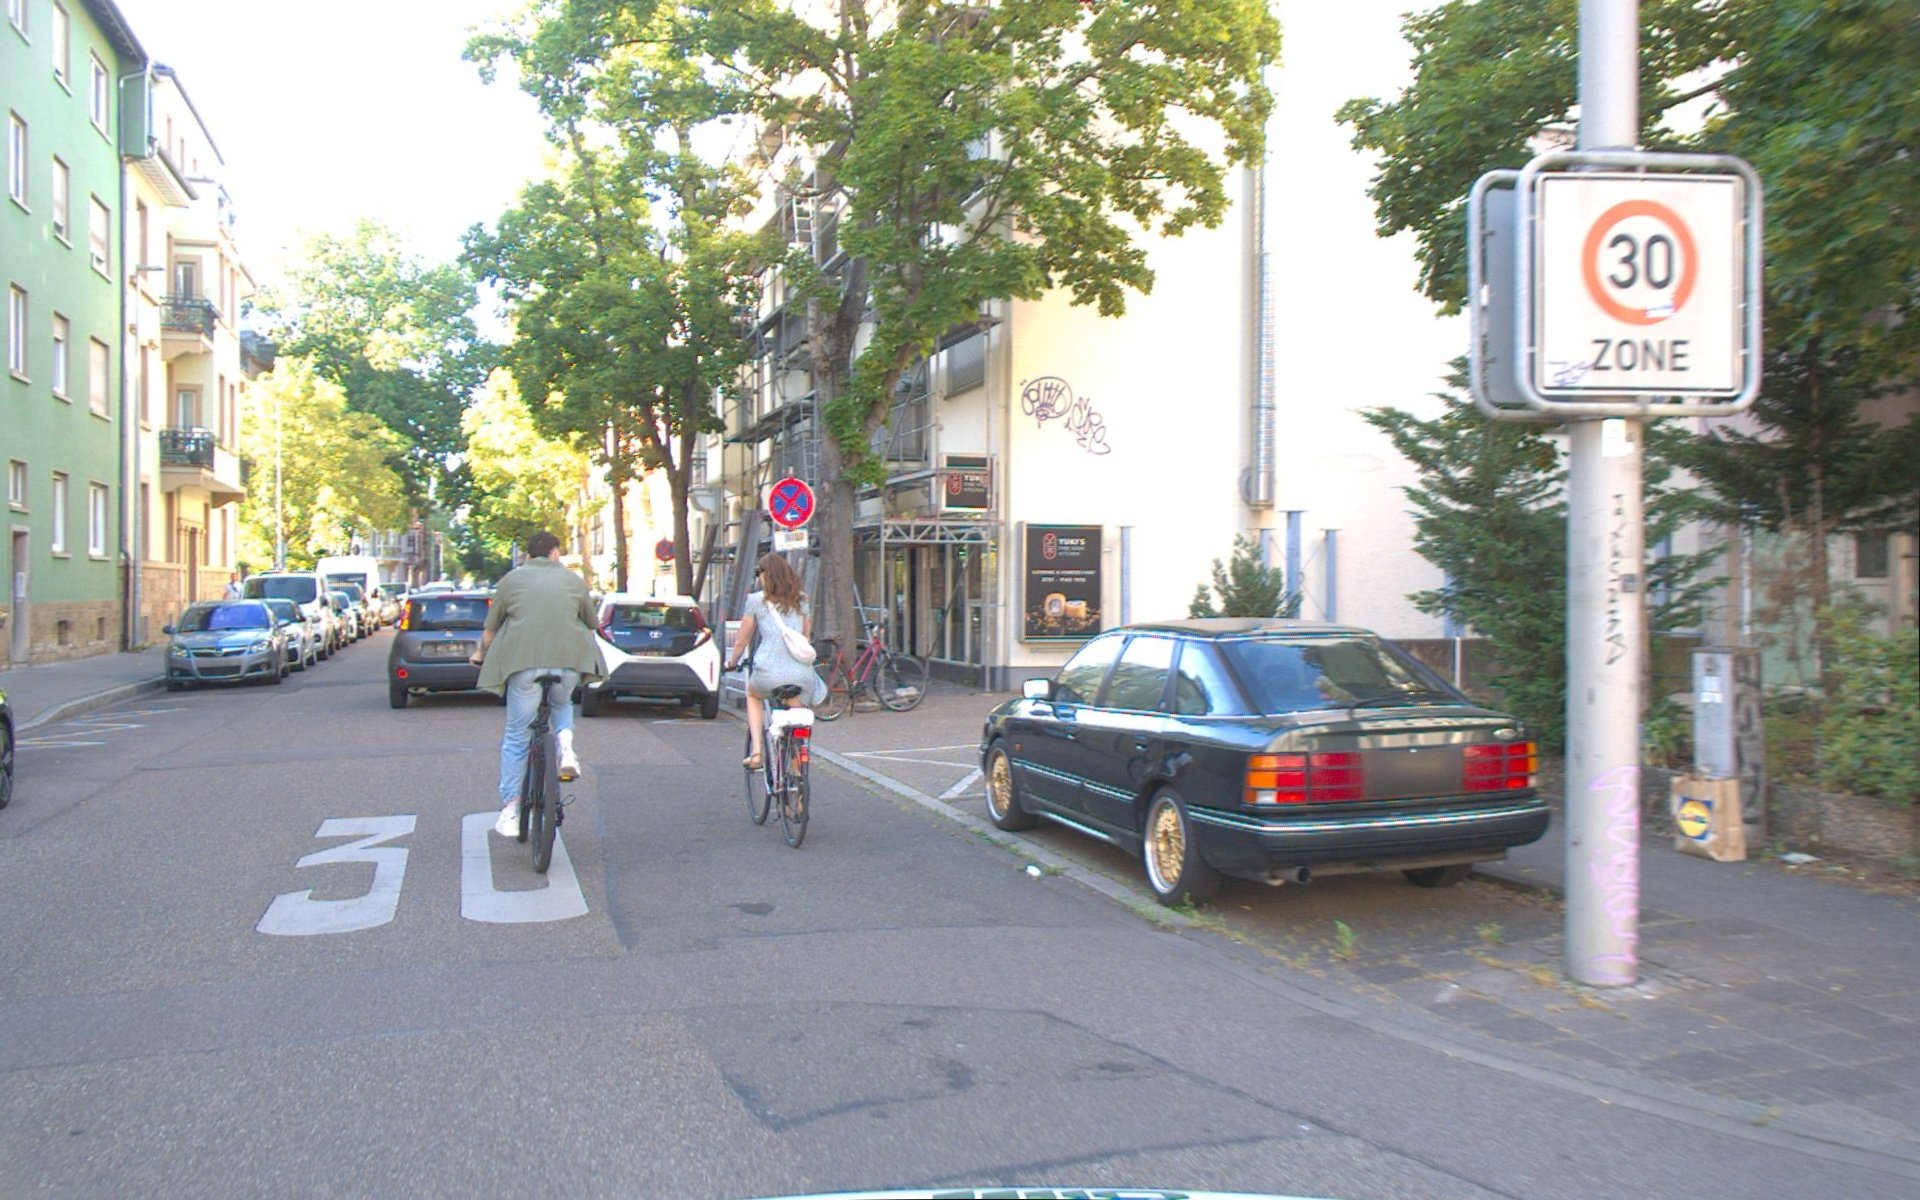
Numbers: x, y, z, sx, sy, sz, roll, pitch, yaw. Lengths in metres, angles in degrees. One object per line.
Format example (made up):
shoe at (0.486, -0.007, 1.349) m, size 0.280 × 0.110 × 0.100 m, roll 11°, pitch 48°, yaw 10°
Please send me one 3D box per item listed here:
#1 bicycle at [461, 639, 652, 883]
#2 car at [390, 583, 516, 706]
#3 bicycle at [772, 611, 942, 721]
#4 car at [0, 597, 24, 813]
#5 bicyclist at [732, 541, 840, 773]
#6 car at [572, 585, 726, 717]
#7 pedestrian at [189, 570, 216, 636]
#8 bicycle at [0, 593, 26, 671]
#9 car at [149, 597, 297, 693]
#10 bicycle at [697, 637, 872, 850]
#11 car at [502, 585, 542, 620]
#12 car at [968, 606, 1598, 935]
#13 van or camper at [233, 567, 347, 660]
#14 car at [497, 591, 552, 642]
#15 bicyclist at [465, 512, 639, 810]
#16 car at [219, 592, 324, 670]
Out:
bicycle at (-2.394, 0.848, 9.604) m, size 0.827 × 1.169 × 2.219 m, roll 0°, pitch 0°, yaw -20°
car at (-6.985, 0.556, 22.879) m, size 1.532 × 1.560 × 3.470 m, roll 0°, pitch 0°, yaw -17°
bicycle at (-1.233, 0.773, 20.091) m, size 1.963 × 1.185 × 0.718 m, roll -3°, pitch 2°, yaw -35°
car at (-7.186, 0.766, 10.104) m, size 1.725 × 1.523 × 4.114 m, roll -1°, pitch 1°, yaw -18°
bicyclist at (-1.117, 0.370, 10.491) m, size 0.612 × 1.405 × 0.866 m, roll 0°, pitch -4°, yaw -10°
car at (-4.135, 0.620, 21.651) m, size 1.648 × 1.572 × 3.388 m, roll 1°, pitch 0°, yaw -16°
pedestrian at (-22.571, 0.088, 49.267) m, size 0.674 × 1.952 × 0.614 m, roll 1°, pitch 0°, yaw -22°
bicycle at (-15.344, 0.500, 26.027) m, size 0.542 × 1.198 × 2.269 m, roll 4°, pitch -1°, yaw -16°
car at (-12.560, 0.722, 28.415) m, size 1.949 × 1.481 × 4.090 m, roll 2°, pitch 0°, yaw -20°
bicycle at (-1.187, 0.862, 10.683) m, size 0.824 × 1.169 × 2.225 m, roll 2°, pitch -1°, yaw -13°
car at (-21.094, 0.104, 79.652) m, size 1.660 × 1.632 × 3.979 m, roll 0°, pitch 0°, yaw -18°
car at (1.525, 0.772, 9.672) m, size 1.681 × 1.412 × 4.548 m, roll 1°, pitch 0°, yaw -17°
van or camper at (-15.709, 0.285, 38.979) m, size 1.961 × 2.049 × 4.890 m, roll 0°, pitch 0°, yaw -16°
car at (-15.301, 0.533, 58.042) m, size 1.660 × 1.713 × 3.979 m, roll 0°, pitch 0°, yaw -18°
bicyclist at (-2.329, 0.348, 9.399) m, size 0.869 × 1.589 × 0.862 m, roll 0°, pitch -3°, yaw -21°
car at (-13.869, 0.588, 33.490) m, size 1.660 × 1.479 × 3.691 m, roll 0°, pitch 0°, yaw -18°
